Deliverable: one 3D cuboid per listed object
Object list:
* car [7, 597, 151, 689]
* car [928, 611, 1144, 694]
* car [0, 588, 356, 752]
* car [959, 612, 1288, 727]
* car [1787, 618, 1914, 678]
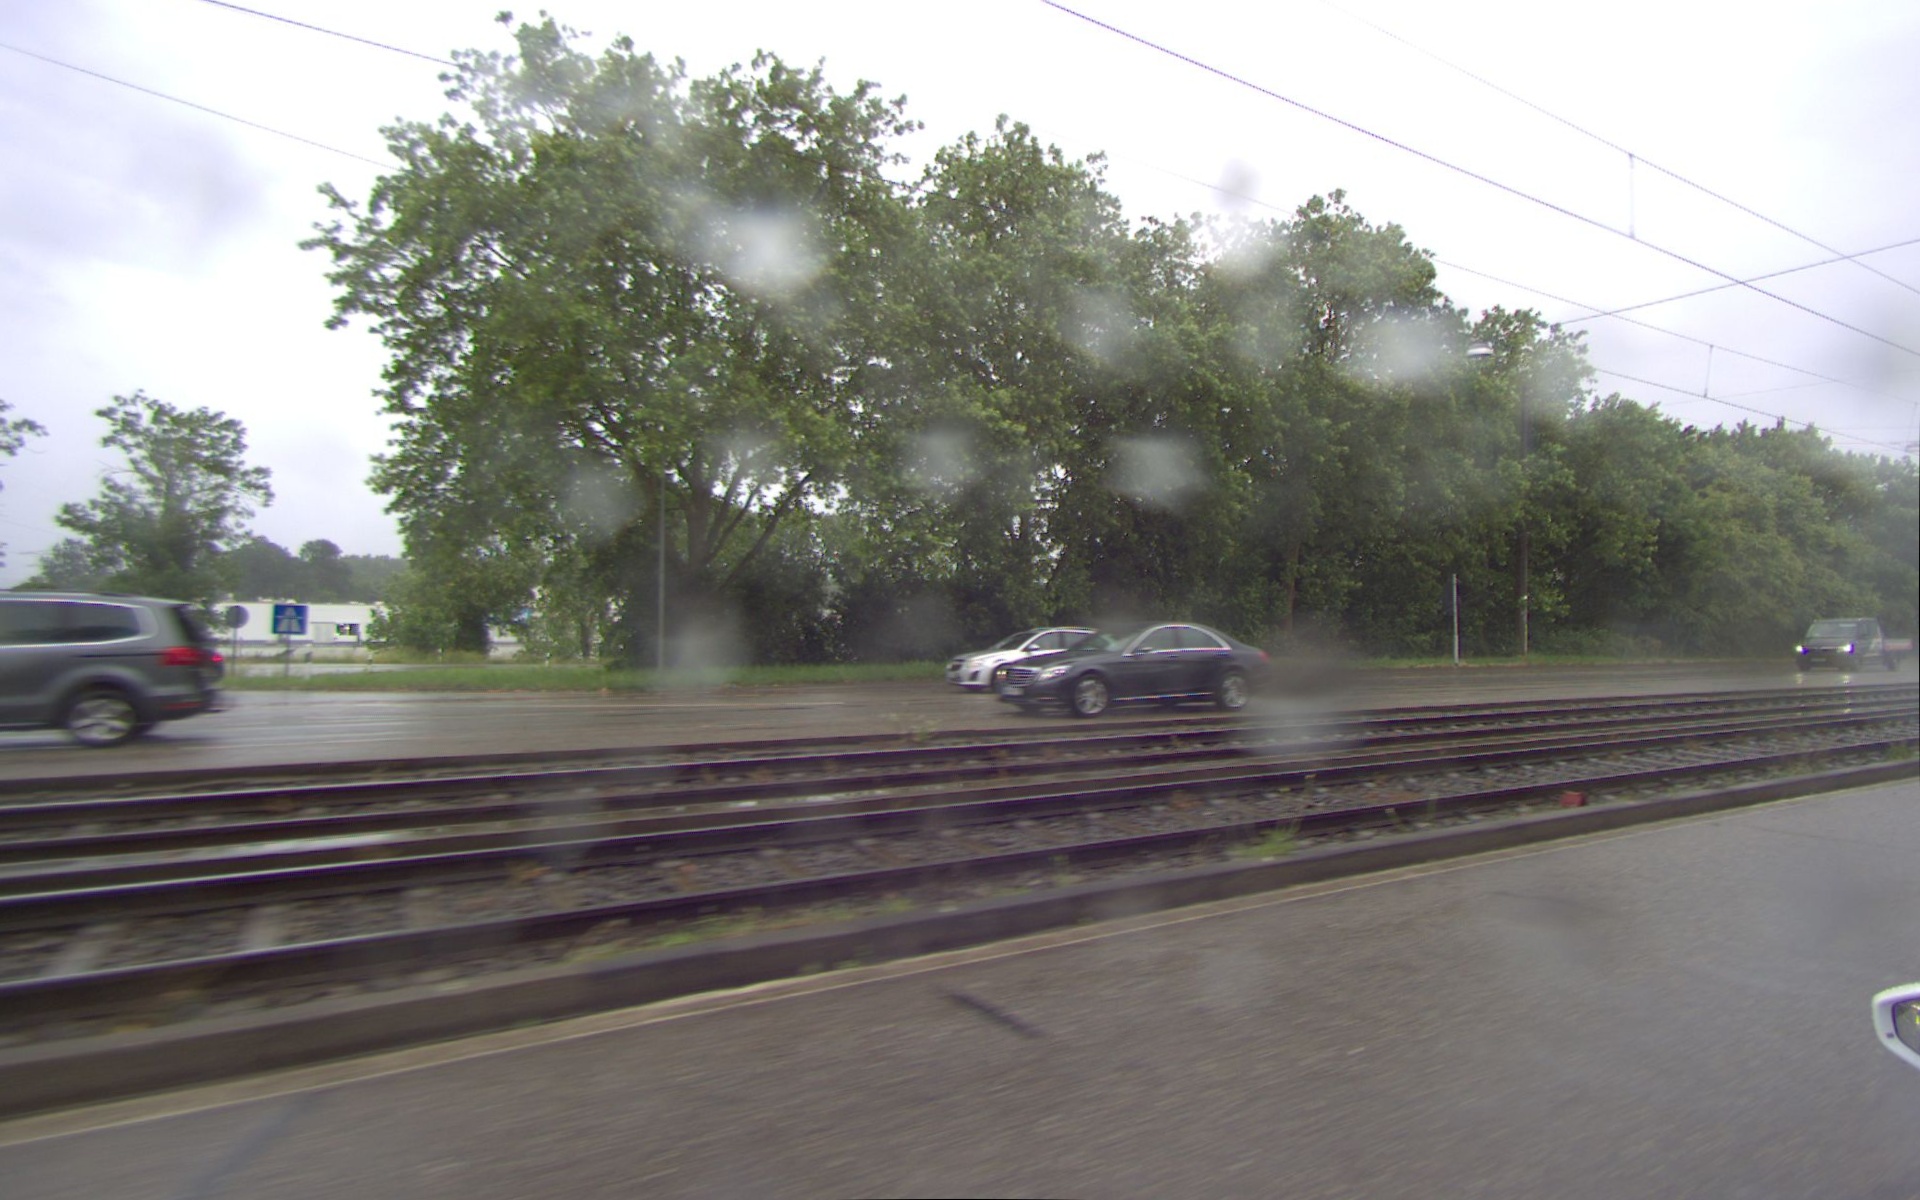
[{"bbox_3d":[-26.473,1.170,30.442,2.313,2.458,5.798,0,1,-32],"label":"car"},{"bbox_3d":[1.850,1.160,23.797,4.962,1.729,1.810,0,1,-31],"label":"car"},{"bbox_3d":[-10.487,0.740,11.551,6.033,1.729,1.810,0,1,-31],"label":"car"},{"bbox_3d":[2.835,1.028,16.748,5.615,1.606,1.767,0,1,-31],"label":"car"},{"bbox_3d":[39.231,2.039,44.205,6.906,2.374,2.089,0,1,-30],"label":"car"}]
